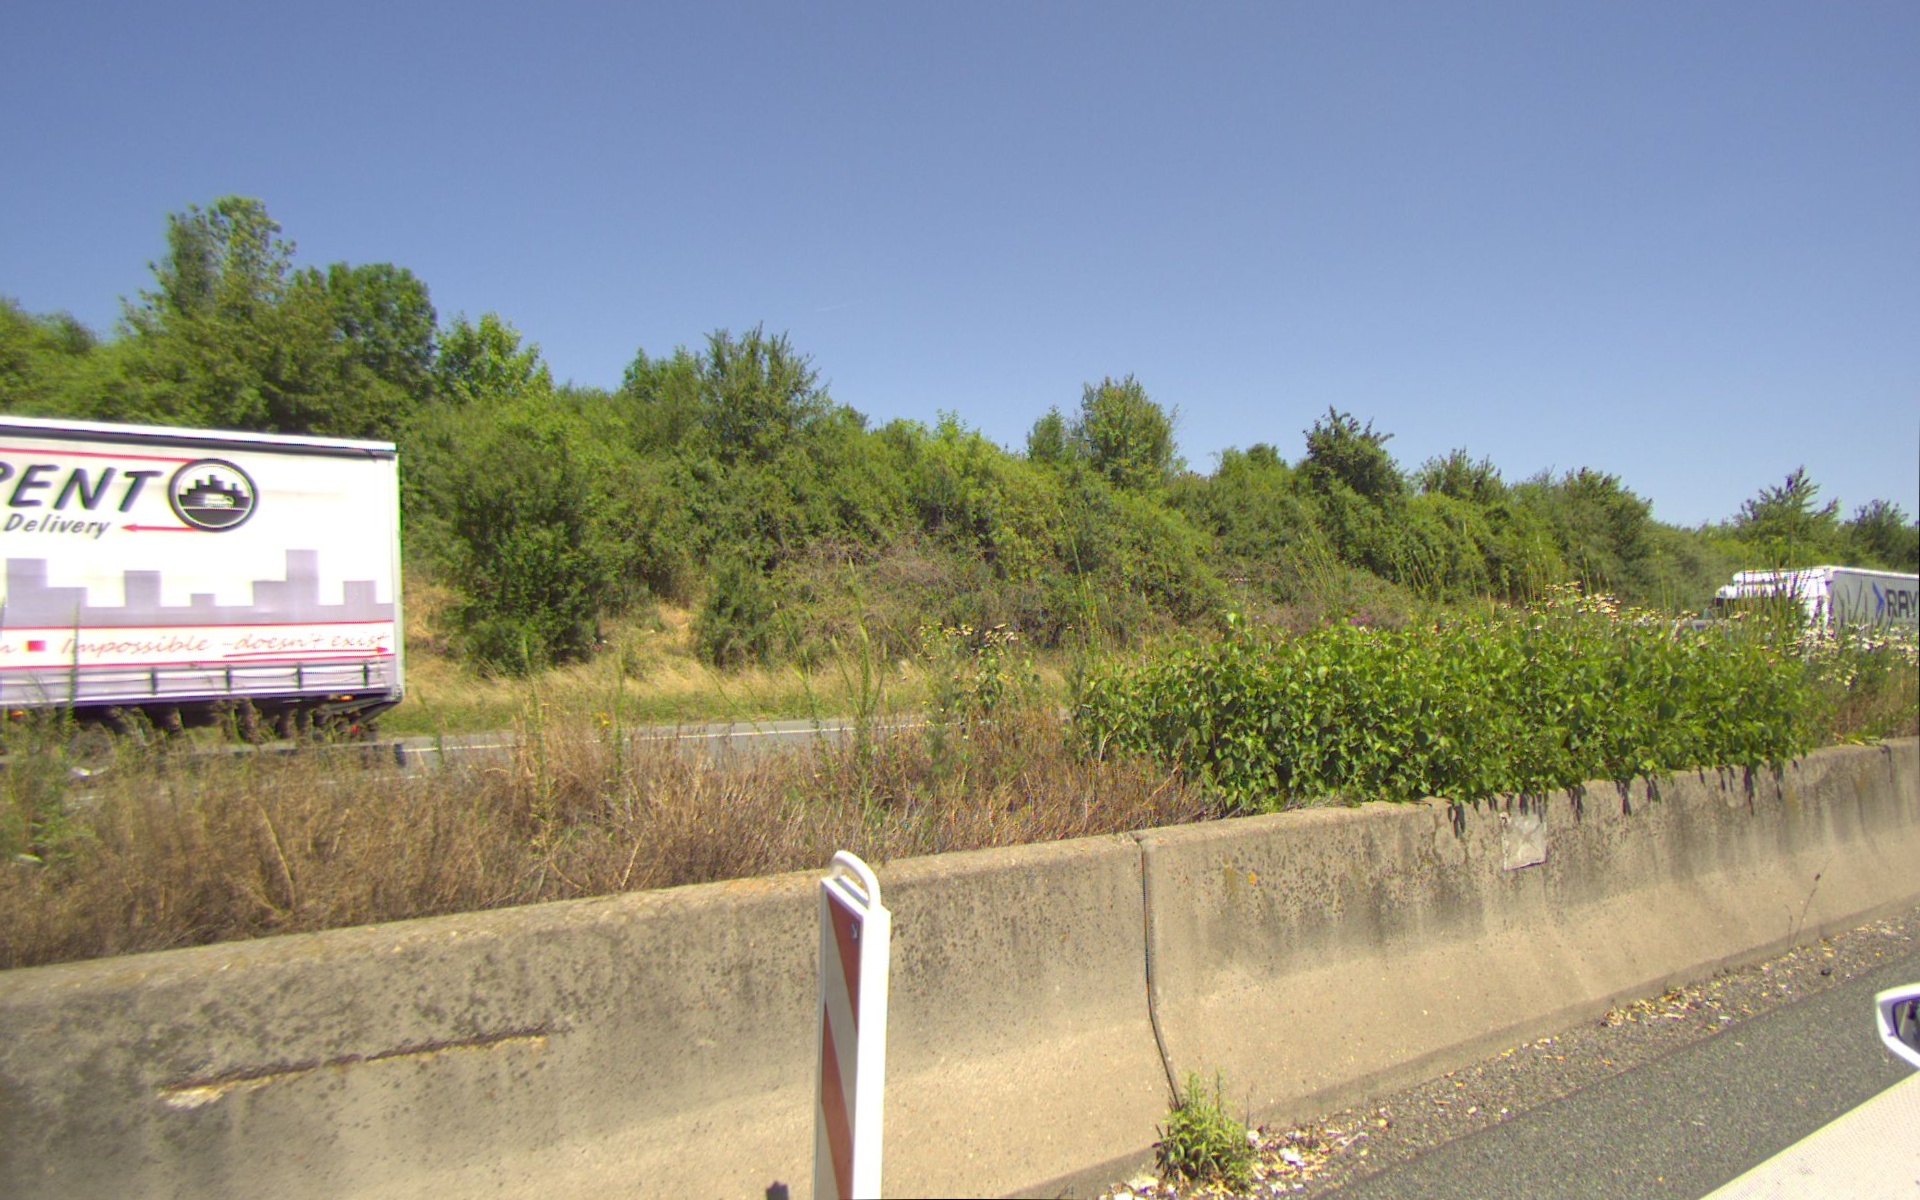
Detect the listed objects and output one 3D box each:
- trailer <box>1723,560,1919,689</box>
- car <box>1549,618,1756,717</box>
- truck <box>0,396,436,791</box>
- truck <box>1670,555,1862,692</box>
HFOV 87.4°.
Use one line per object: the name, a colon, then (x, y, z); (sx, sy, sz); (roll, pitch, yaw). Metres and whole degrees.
trailer: (33.696, 1.054, 37.609); (13.855, 4.220, 3.003); (1, -4, -30)
car: (14.833, 1.435, 21.481); (4.377, 1.913, 1.931); (2, -5, -31)
truck: (-10.780, -0.006, 10.837); (8.925, 3.938, 2.750); (2, -4, -31)
truck: (27.023, 0.867, 33.660); (5.737, 4.220, 3.004); (1, -4, -30)
